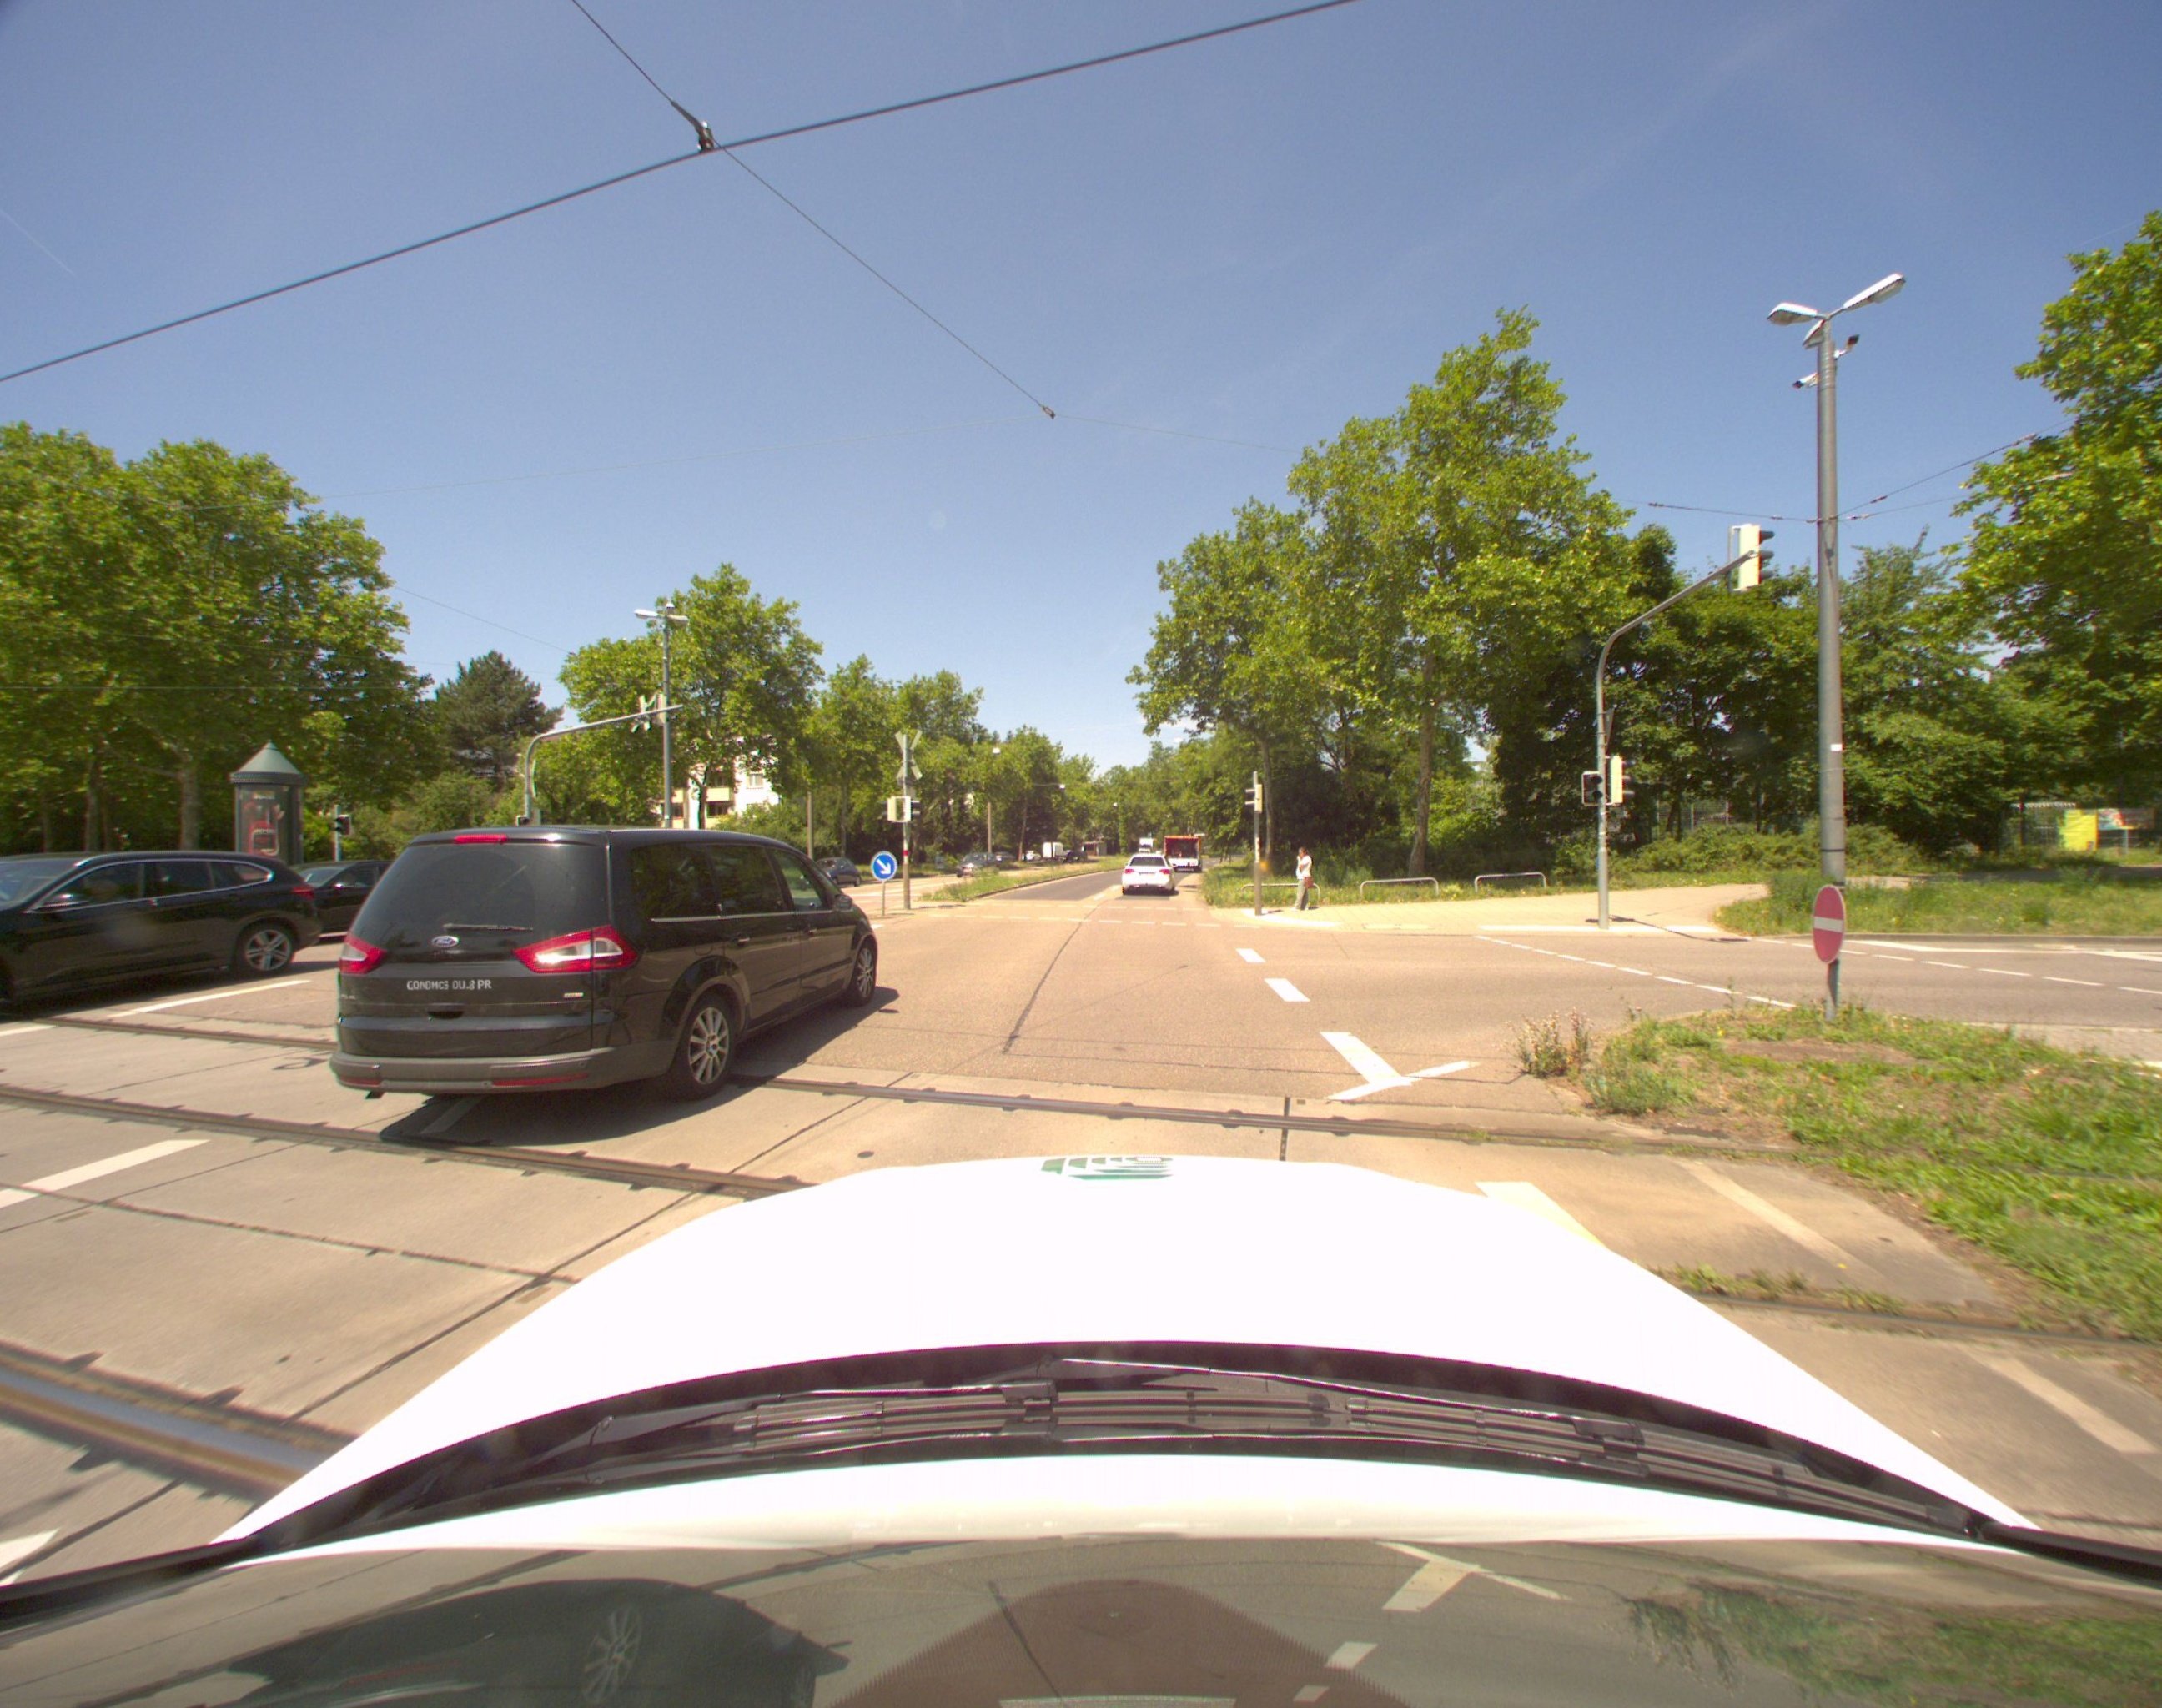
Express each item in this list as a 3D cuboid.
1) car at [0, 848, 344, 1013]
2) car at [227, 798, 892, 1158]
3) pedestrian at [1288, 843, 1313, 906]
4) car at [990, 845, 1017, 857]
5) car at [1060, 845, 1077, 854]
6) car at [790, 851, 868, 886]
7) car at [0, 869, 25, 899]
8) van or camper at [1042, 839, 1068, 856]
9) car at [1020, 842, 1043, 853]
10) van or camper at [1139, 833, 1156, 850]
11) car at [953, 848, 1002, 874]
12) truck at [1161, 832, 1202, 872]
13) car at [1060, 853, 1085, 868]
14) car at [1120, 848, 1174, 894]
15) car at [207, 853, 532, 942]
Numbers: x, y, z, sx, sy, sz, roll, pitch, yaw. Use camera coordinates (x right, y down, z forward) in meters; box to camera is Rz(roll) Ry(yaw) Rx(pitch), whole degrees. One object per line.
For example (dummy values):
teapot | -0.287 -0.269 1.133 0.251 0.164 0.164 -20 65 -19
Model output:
car | -11.111 0.734 8.926 1.900 1.538 4.305 -1 1 5
car | -3.144 0.571 6.353 1.845 1.755 4.656 -1 1 5
pedestrian | 5.235 0.479 19.442 0.549 1.484 0.632 -1 1 13
car | -9.934 -0.386 104.517 1.866 1.376 4.021 0 1 20
car | -1.948 -0.749 129.179 1.680 1.284 3.819 0 1 16
car | -11.304 0.617 36.755 1.709 1.455 3.880 -1 1 11
car | -52.489 1.436 37.704 1.441 1.397 4.160 1 1 24
van or camper | -3.870 -1.020 123.137 2.165 2.587 5.333 -1 1 17
car | -6.918 -0.864 113.978 1.867 1.474 4.018 0 1 16
van or camper | 13.174 -2.478 161.471 2.644 3.331 5.518 0 1 11
car | -6.070 0.381 48.331 1.726 1.395 4.189 -2 0 9
truck | 7.058 -0.232 56.470 2.496 2.559 7.623 1 2 9
car | -0.952 0.754 90.853 1.800 1.506 4.609 -1 1 12
car | 2.400 0.545 28.806 1.753 1.445 3.623 1 1 6
car | -13.690 0.739 16.187 1.939 1.440 4.755 -1 1 6
